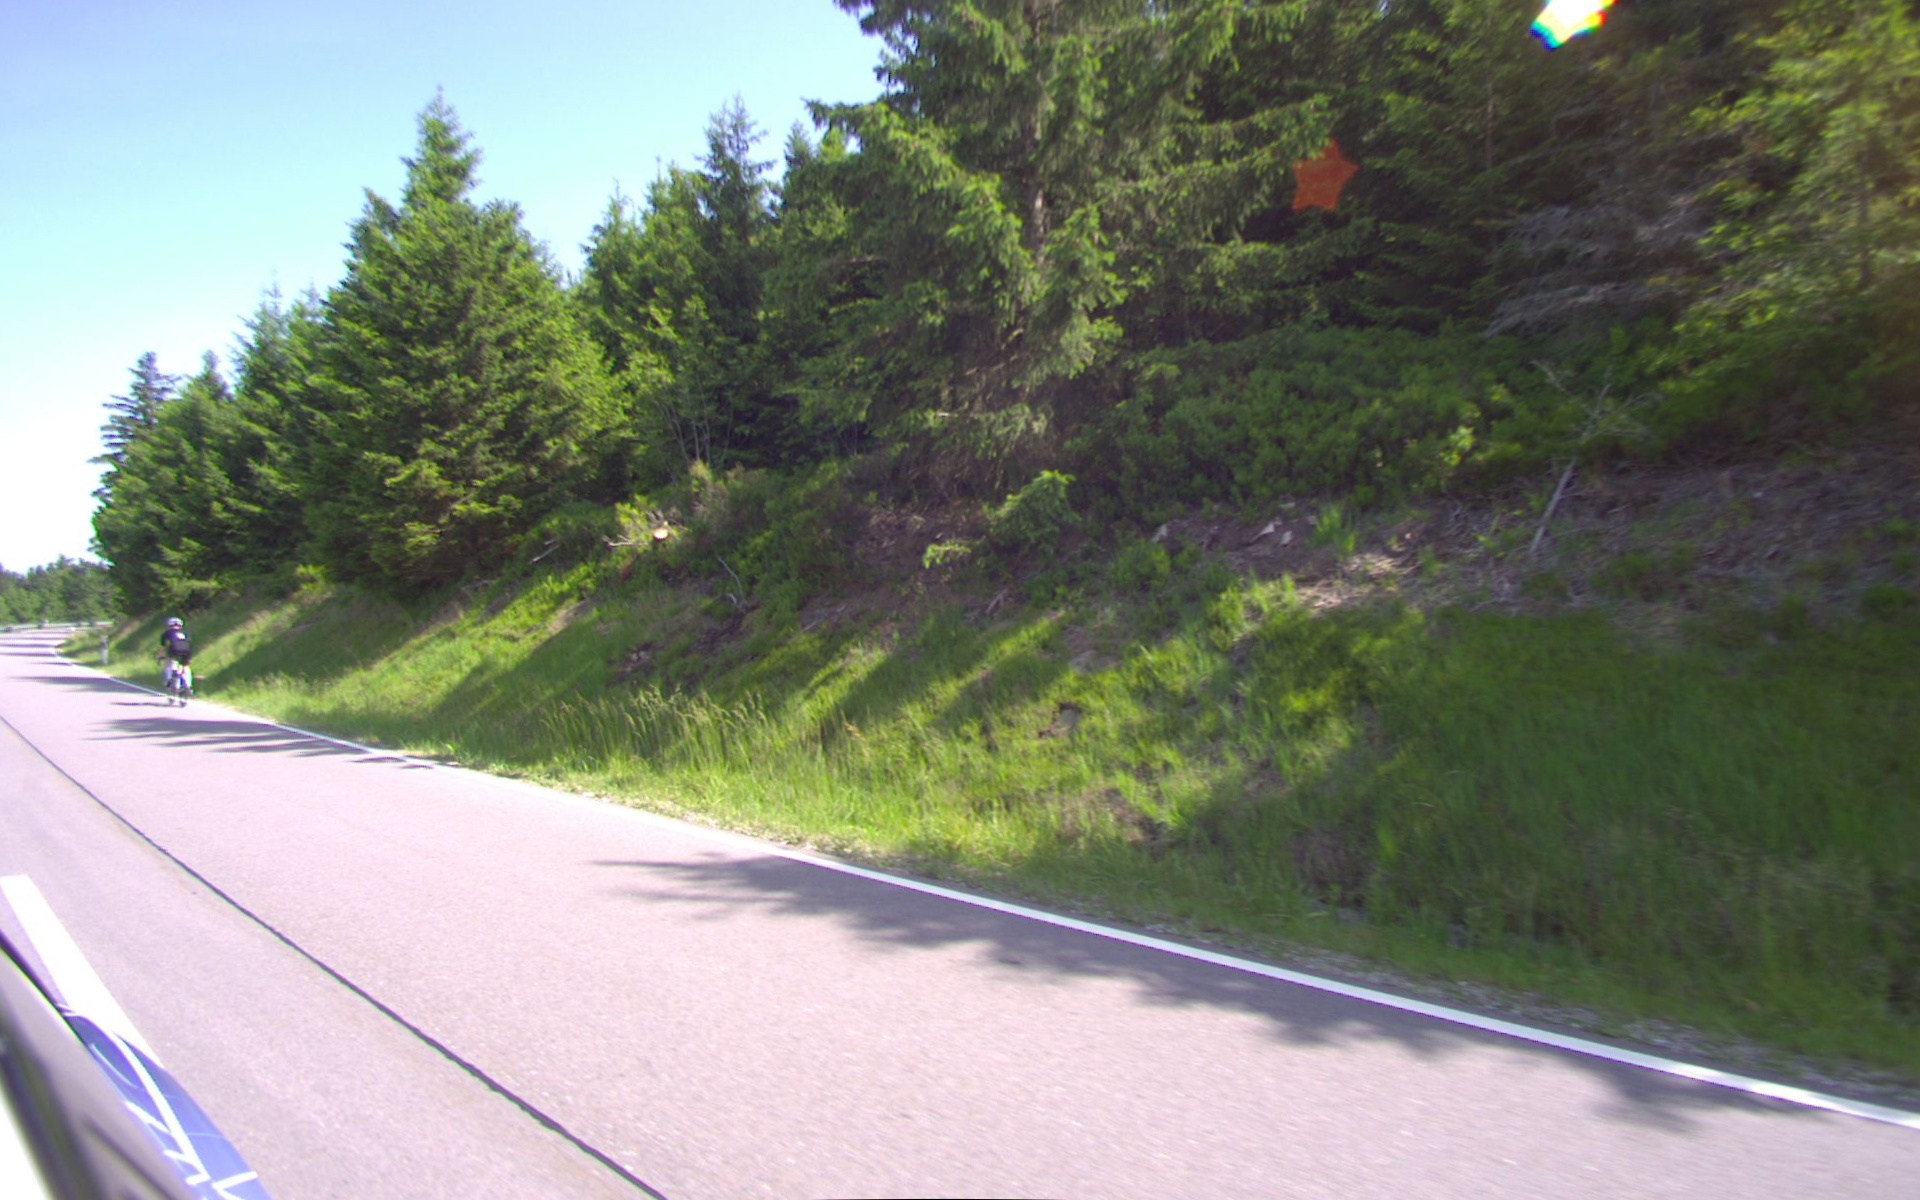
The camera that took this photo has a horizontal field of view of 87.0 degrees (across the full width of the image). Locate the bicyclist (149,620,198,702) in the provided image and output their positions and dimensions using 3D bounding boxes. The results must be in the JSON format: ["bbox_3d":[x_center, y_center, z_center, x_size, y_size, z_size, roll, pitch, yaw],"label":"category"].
[{"bbox_3d":[-14.400,1.104,18.519,0.983,1.462,0.535,-2,-3,43],"label":"bicyclist"}]

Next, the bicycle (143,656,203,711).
[{"bbox_3d":[-14.376,1.498,18.467,2.062,0.893,0.547,-1,-3,43],"label":"bicycle"}]
